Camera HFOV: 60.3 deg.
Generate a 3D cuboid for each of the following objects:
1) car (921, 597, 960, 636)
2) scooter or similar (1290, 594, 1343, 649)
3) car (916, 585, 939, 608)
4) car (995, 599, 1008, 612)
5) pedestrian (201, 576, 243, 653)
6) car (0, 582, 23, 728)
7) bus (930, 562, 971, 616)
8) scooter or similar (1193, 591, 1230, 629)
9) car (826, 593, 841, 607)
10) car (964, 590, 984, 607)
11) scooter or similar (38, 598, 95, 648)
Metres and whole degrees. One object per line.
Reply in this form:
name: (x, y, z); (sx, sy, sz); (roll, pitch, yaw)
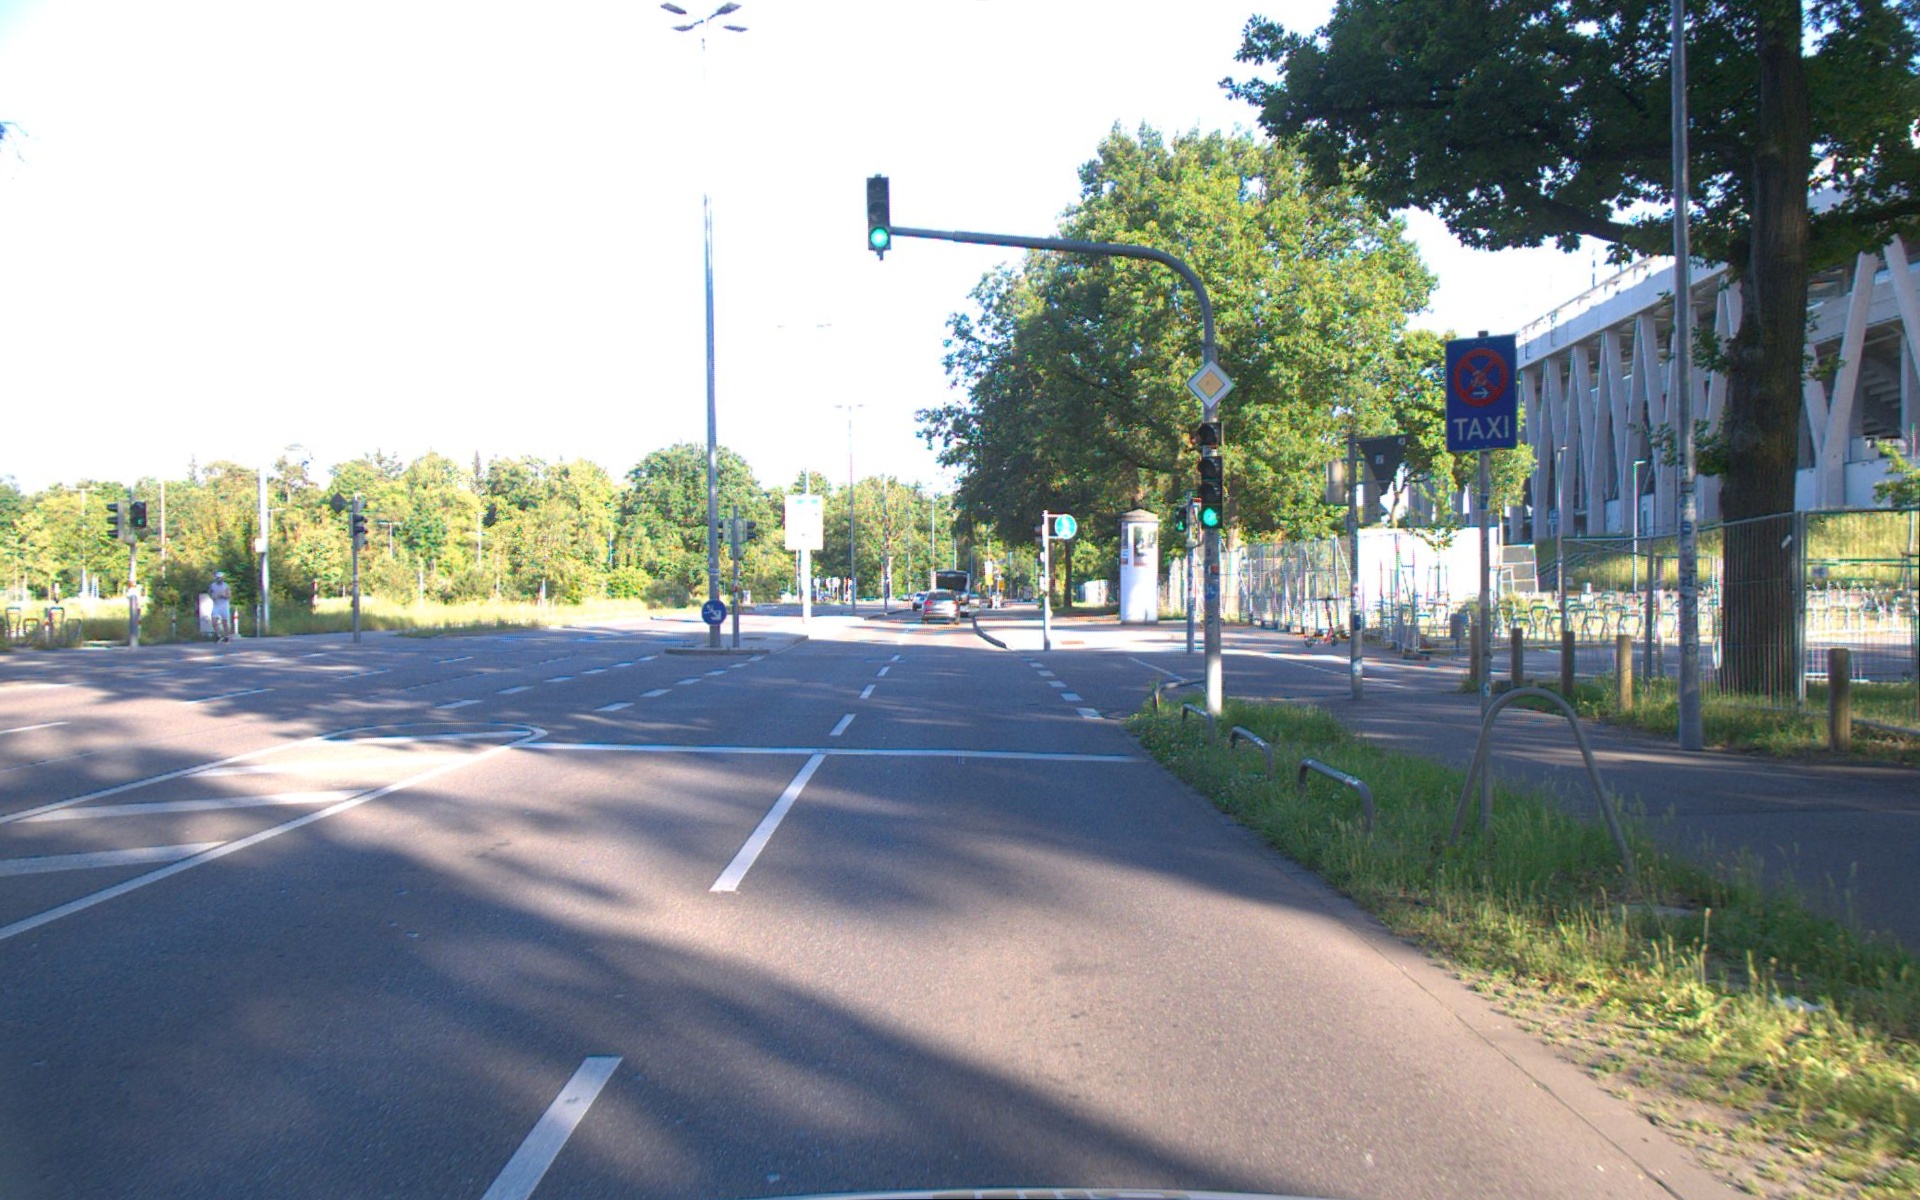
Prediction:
car: (-0.950, 0.780, 80.763); (1.842, 1.796, 3.999); (0, 1, -1)
scooter or similar: (8.796, 0.519, 40.809); (1.351, 1.310, 0.594); (0, 2, -44)
car: (-2.615, -0.327, 133.203); (1.842, 1.796, 3.999); (0, 1, -1)
car: (5.381, 0.710, 215.972); (1.560, 1.633, 3.583); (2, 0, 0)
pedestrian: (-19.048, 0.366, 42.683); (0.600, 1.943, 1.106); (-1, -1, -1)
car: (-10.552, 0.551, 15.244); (1.677, 1.489, 4.097); (1, 0, -4)
bus: (-0.656, -0.750, 109.681); (2.552, 3.427, 7.973); (1, 0, -1)
scooter or similar: (8.505, 0.335, 55.945); (0.558, 1.278, 1.593); (0, 0, 37)
car: (-16.761, -0.024, 219.354); (1.825, 1.713, 3.771); (-1, 0, -2)
car: (1.385, -0.163, 166.728); (1.824, 1.713, 3.774); (-1, 0, 3)
scooter or similar: (-22.665, 0.581, 41.969); (0.500, 1.246, 1.360); (-1, -1, 12)
